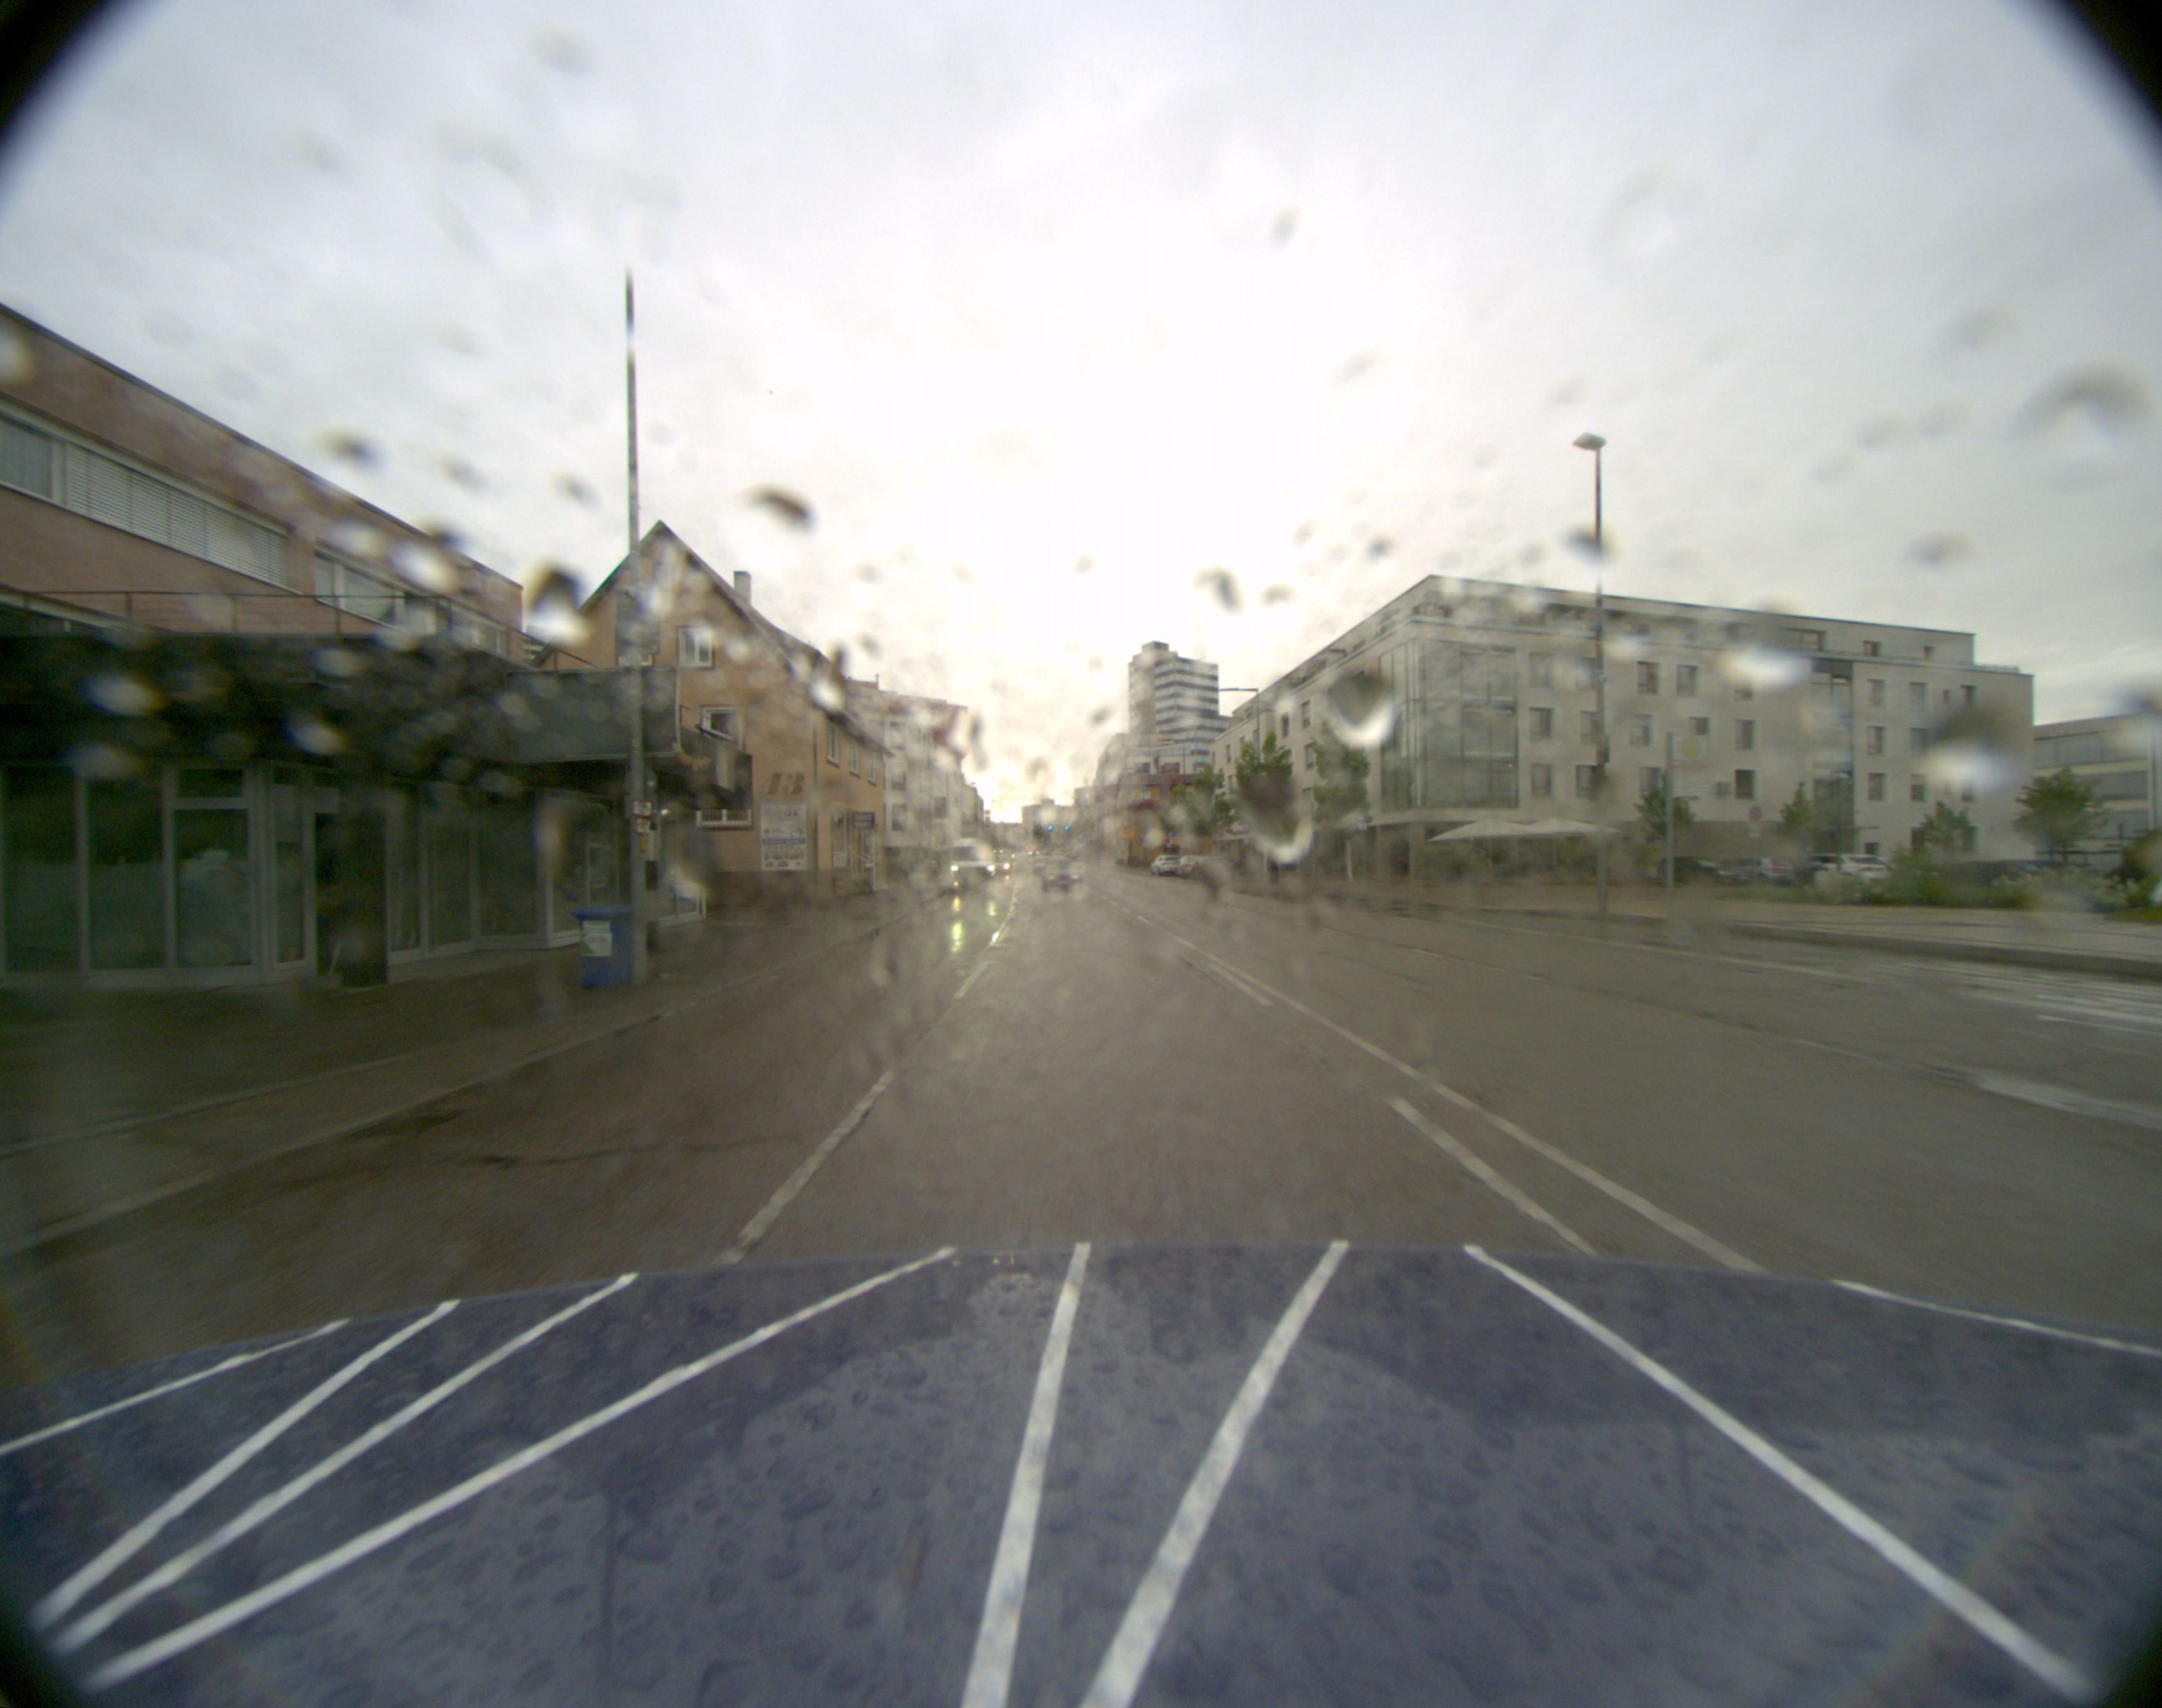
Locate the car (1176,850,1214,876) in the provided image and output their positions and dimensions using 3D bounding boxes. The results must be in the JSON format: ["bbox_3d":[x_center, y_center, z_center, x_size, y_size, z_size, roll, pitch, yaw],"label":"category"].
[{"bbox_3d":[7.319,0.540,49.145,1.696,1.501,4.575,0,2,-2],"label":"car"}]

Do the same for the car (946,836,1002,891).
[{"bbox_3d":[-5.059,0.329,36.799,2.298,2.369,6.620,0,2,-5],"label":"car"}]

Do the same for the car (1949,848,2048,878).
[{"bbox_3d":[52.265,0.481,43.345,1.518,1.550,3.204,-1,2,-18],"label":"car"}]

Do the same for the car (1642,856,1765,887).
[{"bbox_3d":[31.080,0.847,38.099,1.796,1.288,4.461,-1,2,-20],"label":"car"}]

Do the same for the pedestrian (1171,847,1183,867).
[{"bbox_3d":[8.652,0.301,68.416,0.803,1.778,0.881,-1,2,-11],"label":"pedestrian"}]

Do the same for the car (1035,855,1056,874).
[{"bbox_3d":[-2.836,0.811,60.176,1.662,1.300,3.992,0,2,-3],"label":"car"}]

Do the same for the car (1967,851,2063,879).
[{"bbox_3d":[54.688,0.605,44.550,1.446,1.474,3.215,-1,2,-20],"label":"car"}]

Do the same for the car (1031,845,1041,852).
[{"bbox_3d":[-9.372,-1.127,158.297,1.721,1.442,4.194,0,2,-6],"label":"car"}]

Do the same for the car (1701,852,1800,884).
[{"bbox_3d":[33.879,0.663,38.569,1.503,1.451,3.427,-1,2,-22],"label":"car"}]

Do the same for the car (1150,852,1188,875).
[{"bbox_3d":[6.334,0.635,55.180,1.801,1.454,4.474,-1,2,-6],"label":"car"}]

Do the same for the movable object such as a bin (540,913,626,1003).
[{"bbox_3d":[-6.349,1.309,9.720,0.638,1.068,0.698,0,-1,-1],"label":"movable object such as a bin"}]

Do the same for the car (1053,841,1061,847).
[{"bbox_3d":[-6.514,-2.820,206.474,2.006,1.609,4.946,0,2,-1],"label":"car"}]

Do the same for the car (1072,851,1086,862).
[{"bbox_3d":[-0.385,0.373,118.309,1.886,1.515,4.181,0,2,-5],"label":"car"}]

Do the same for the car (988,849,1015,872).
[{"bbox_3d":[-6.452,0.497,61.612,2.018,1.613,4.356,-2,3,-7],"label":"car"}]

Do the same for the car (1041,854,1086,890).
[{"bbox_3d":[-0.847,0.795,34.707,1.689,1.373,3.790,-2,2,-7],"label":"car"}]

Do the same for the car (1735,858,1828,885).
[{"bbox_3d":[36.189,0.863,39.339,1.398,1.214,3.253,-1,2,-20],"label":"car"}]

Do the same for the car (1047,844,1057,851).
[{"bbox_3d":[-6.024,-1.336,156.294,1.773,1.406,4.522,0,2,-5],"label":"car"}]

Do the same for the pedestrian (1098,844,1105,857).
[{"bbox_3d":[3.011,-0.522,112.699,0.663,1.911,0.945,-3,3,-12],"label":"pedestrian"}]

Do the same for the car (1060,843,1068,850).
[{"bbox_3d":[-3.738,-1.577,167.666,1.654,1.410,4.136,2,2,-4],"label":"car"}]

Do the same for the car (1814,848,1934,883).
[{"bbox_3d":[42.686,0.588,41.031,2.002,1.680,3.991,-1,2,-22],"label":"car"}]

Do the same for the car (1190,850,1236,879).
[{"bbox_3d":[7.502,0.580,43.503,1.592,1.573,4.468,0,0,-4],"label":"car"}]

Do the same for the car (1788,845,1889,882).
[{"bbox_3d":[40.191,0.454,40.392,1.492,1.766,3.452,-1,2,-20],"label":"car"}]

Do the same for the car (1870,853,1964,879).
[{"bbox_3d":[46.949,0.642,42.753,1.727,1.319,3.084,-1,2,-17],"label":"car"}]

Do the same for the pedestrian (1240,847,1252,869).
[{"bbox_3d":[13.167,0.305,60.472,0.809,1.728,1.004,1,2,19],"label":"pedestrian"}]
